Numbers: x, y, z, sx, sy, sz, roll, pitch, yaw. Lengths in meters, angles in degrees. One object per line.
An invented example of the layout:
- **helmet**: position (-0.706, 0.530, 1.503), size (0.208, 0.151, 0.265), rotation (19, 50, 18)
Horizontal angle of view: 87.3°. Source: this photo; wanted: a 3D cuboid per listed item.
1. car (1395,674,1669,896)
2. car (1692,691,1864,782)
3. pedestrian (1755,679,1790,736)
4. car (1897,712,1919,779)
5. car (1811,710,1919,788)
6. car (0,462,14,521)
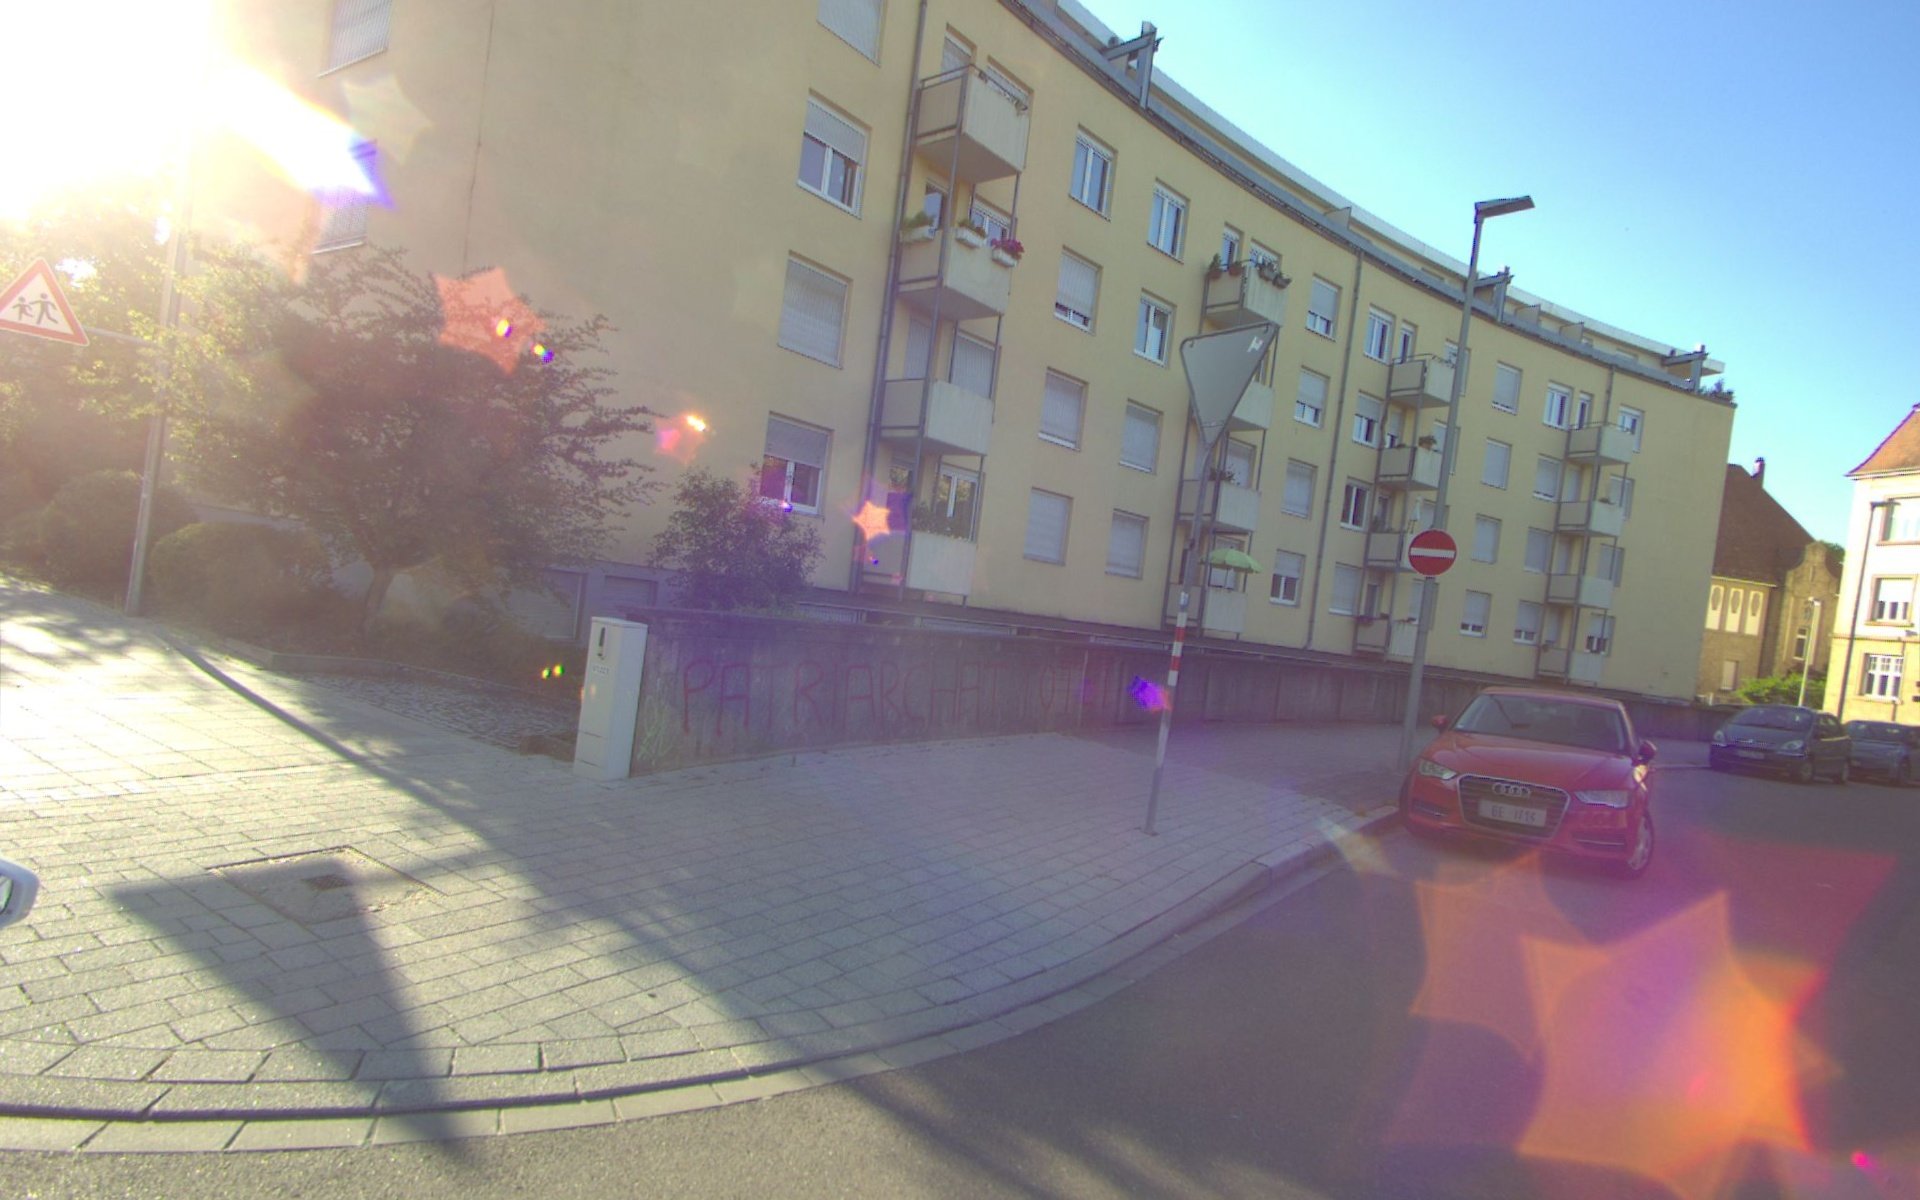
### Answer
- **car**: position (5.562, 1.578, 9.561), size (1.762, 1.436, 4.037), rotation (5, -2, 35)
- **car**: position (18.111, 3.032, 22.232), size (4.006, 1.595, 1.693), rotation (7, -1, -32)
- **pedestrian**: position (24.475, 3.243, 30.315), size (0.521, 1.612, 0.503), rotation (7, 1, -29)
- **car**: position (28.651, 4.355, 28.324), size (3.994, 1.817, 1.697), rotation (8, 0, -23)
- **car**: position (23.403, 3.789, 25.382), size (4.004, 1.595, 1.693), rotation (7, -1, -31)
- **car**: position (-29.253, -3.369, 28.367), size (1.619, 1.661, 3.490), rotation (8, 0, 40)
